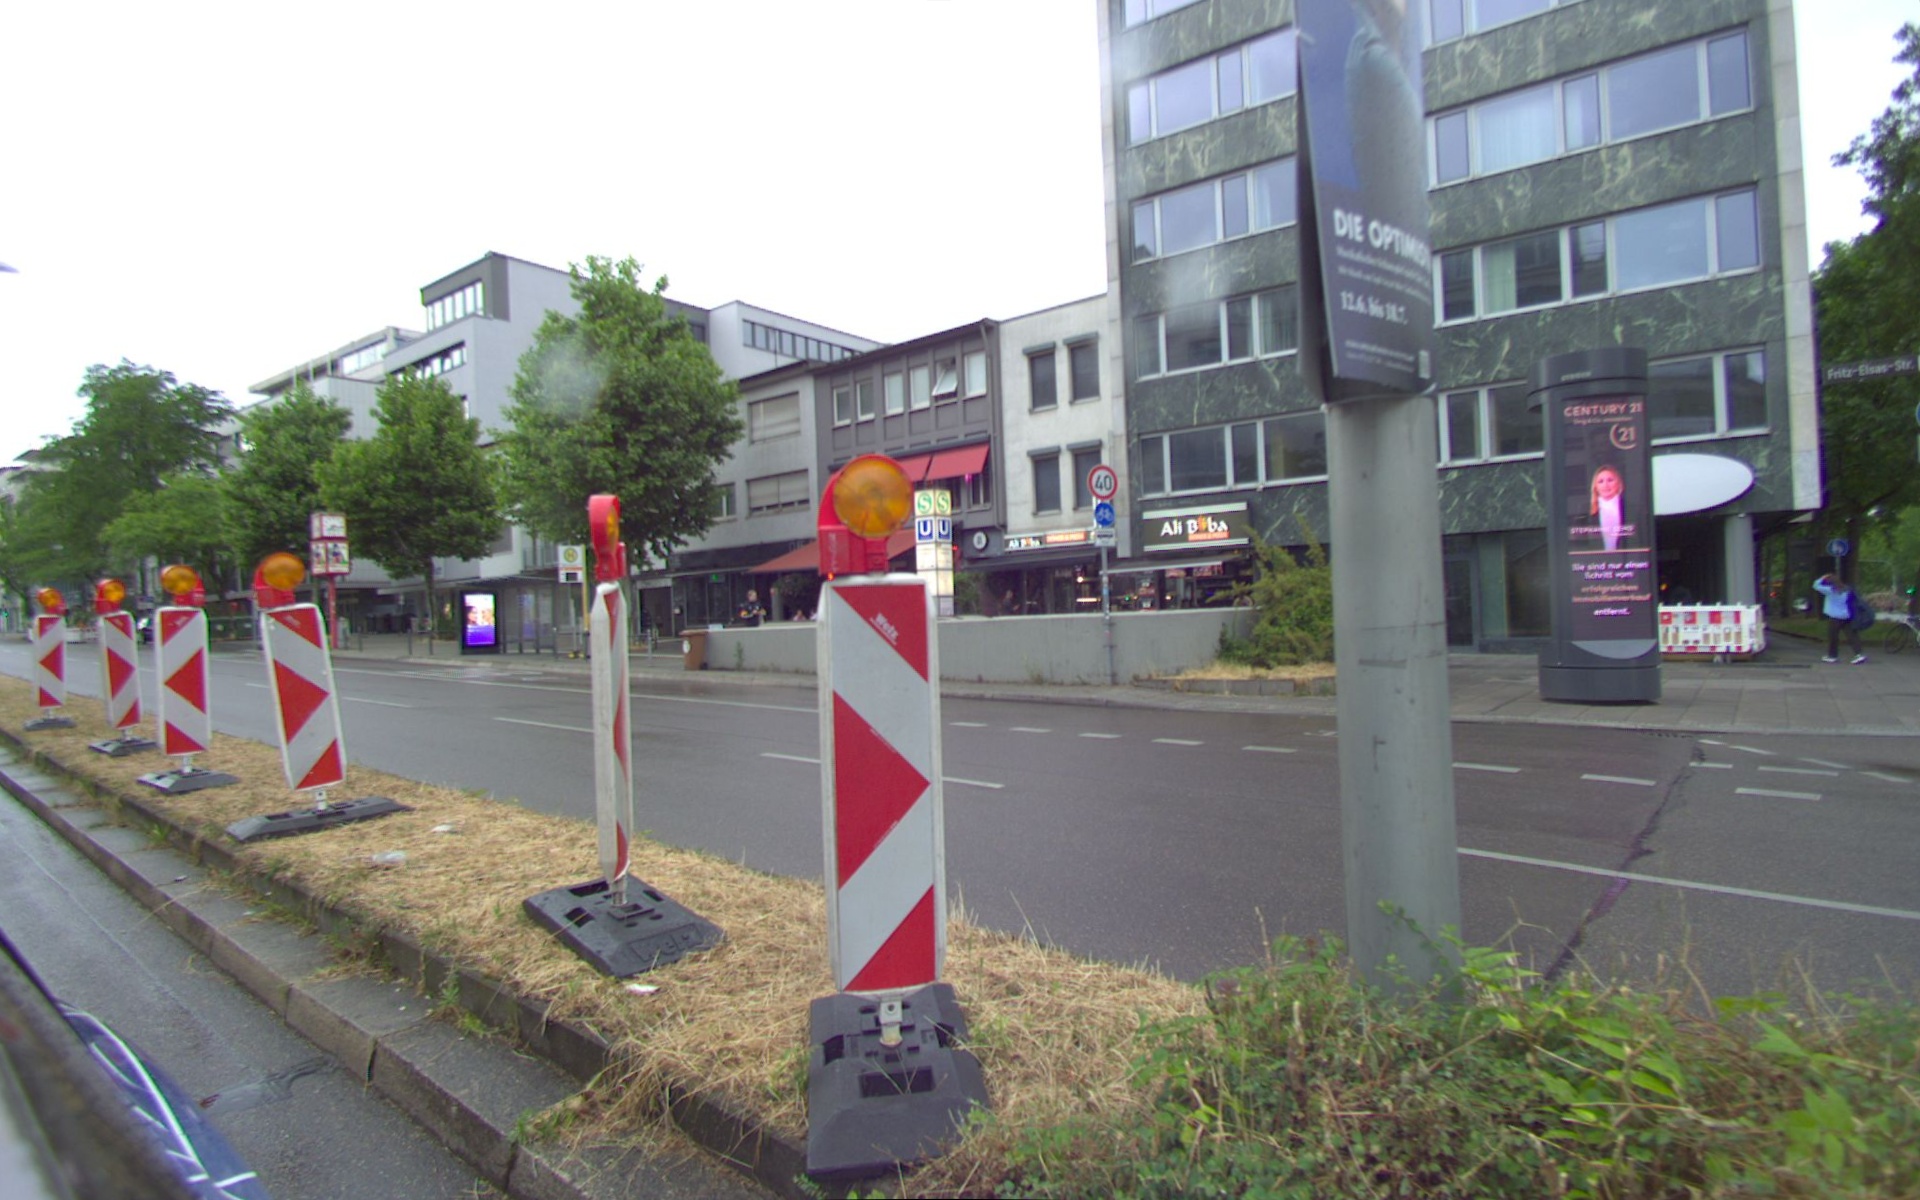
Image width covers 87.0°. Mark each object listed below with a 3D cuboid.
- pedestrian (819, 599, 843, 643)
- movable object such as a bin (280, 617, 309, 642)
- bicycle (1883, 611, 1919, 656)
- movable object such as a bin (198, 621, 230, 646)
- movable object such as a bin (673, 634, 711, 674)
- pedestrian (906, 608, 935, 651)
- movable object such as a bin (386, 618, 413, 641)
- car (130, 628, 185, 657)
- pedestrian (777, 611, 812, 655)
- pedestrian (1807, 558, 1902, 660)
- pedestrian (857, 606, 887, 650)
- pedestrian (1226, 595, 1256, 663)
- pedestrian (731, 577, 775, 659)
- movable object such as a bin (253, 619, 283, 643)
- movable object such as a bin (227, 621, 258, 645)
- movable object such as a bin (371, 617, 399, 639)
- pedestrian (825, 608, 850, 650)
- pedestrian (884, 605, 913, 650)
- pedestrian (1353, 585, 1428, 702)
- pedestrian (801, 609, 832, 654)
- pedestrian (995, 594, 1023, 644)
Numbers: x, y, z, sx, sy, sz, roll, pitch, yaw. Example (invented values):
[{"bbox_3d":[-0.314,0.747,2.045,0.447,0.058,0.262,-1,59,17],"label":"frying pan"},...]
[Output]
[{"bbox_3d":[-4.755,0.778,37.313,0.603,1.582,0.591,-1,-1,31],"label":"pedestrian"},{"bbox_3d":[-41.532,1.841,63.120,1.088,1.499,1.265,-2,-1,41],"label":"movable object such as a bin"},{"bbox_3d":[20.928,0.711,21.558,0.468,0.941,1.803,0,-1,-39],"label":"bicycle"},{"bbox_3d":[-44.172,1.986,59.930,1.088,1.437,1.345,-2,-1,41],"label":"movable object such as a bin"},{"bbox_3d":[-6.207,1.238,23.471,0.680,0.904,0.527,-2,-3,32],"label":"movable object such as a bin"},{"bbox_3d":[-1.288,0.944,32.802,0.690,1.354,0.627,-2,-1,34],"label":"pedestrian"},{"bbox_3d":[-36.579,1.918,66.075,1.278,1.446,1.077,-1,-1,32],"label":"movable object such as a bin"},{"bbox_3d":[-48.058,2.559,60.582,4.019,1.648,1.761,-3,-2,38],"label":"car"},{"bbox_3d":[-5.575,1.098,34.119,0.912,1.461,0.683,-2,-1,37],"label":"pedestrian"},{"bbox_3d":[17.053,0.196,19.325,0.866,1.868,1.023,1,-4,6],"label":"pedestrian"},{"bbox_3d":[-2.967,0.935,34.280,0.690,1.461,0.720,-2,-1,34],"label":"pedestrian"},{"bbox_3d":[8.007,0.822,28.829,0.590,1.899,0.749,-2,-1,34],"label":"pedestrian"},{"bbox_3d":[-4.951,0.426,24.170,0.757,1.899,0.683,-2,-1,37],"label":"pedestrian"},{"bbox_3d":[-42.423,1.914,62.066,1.088,1.437,1.265,-2,-1,41],"label":"movable object such as a bin"},{"bbox_3d":[-43.260,1.994,61.022,1.088,1.437,1.265,-2,-1,41],"label":"movable object such as a bin"},{"bbox_3d":[-37.883,1.858,66.668,1.278,1.446,1.077,-1,-1,32],"label":"movable object such as a bin"},{"bbox_3d":[-4.275,1.004,35.345,0.546,1.461,0.683,-2,-1,37],"label":"pedestrian"},{"bbox_3d":[-2.033,0.907,33.253,0.690,1.461,0.627,-2,-1,34],"label":"pedestrian"},{"bbox_3d":[6.390,0.626,15.028,0.745,1.665,0.693,-1,-1,-33],"label":"pedestrian"},{"bbox_3d":[-4.746,1.051,33.502,0.706,1.461,0.683,-2,-1,37],"label":"pedestrian"},{"bbox_3d":[1.446,0.552,30.025,0.587,1.461,0.597,-2,-1,36],"label":"pedestrian"}]
